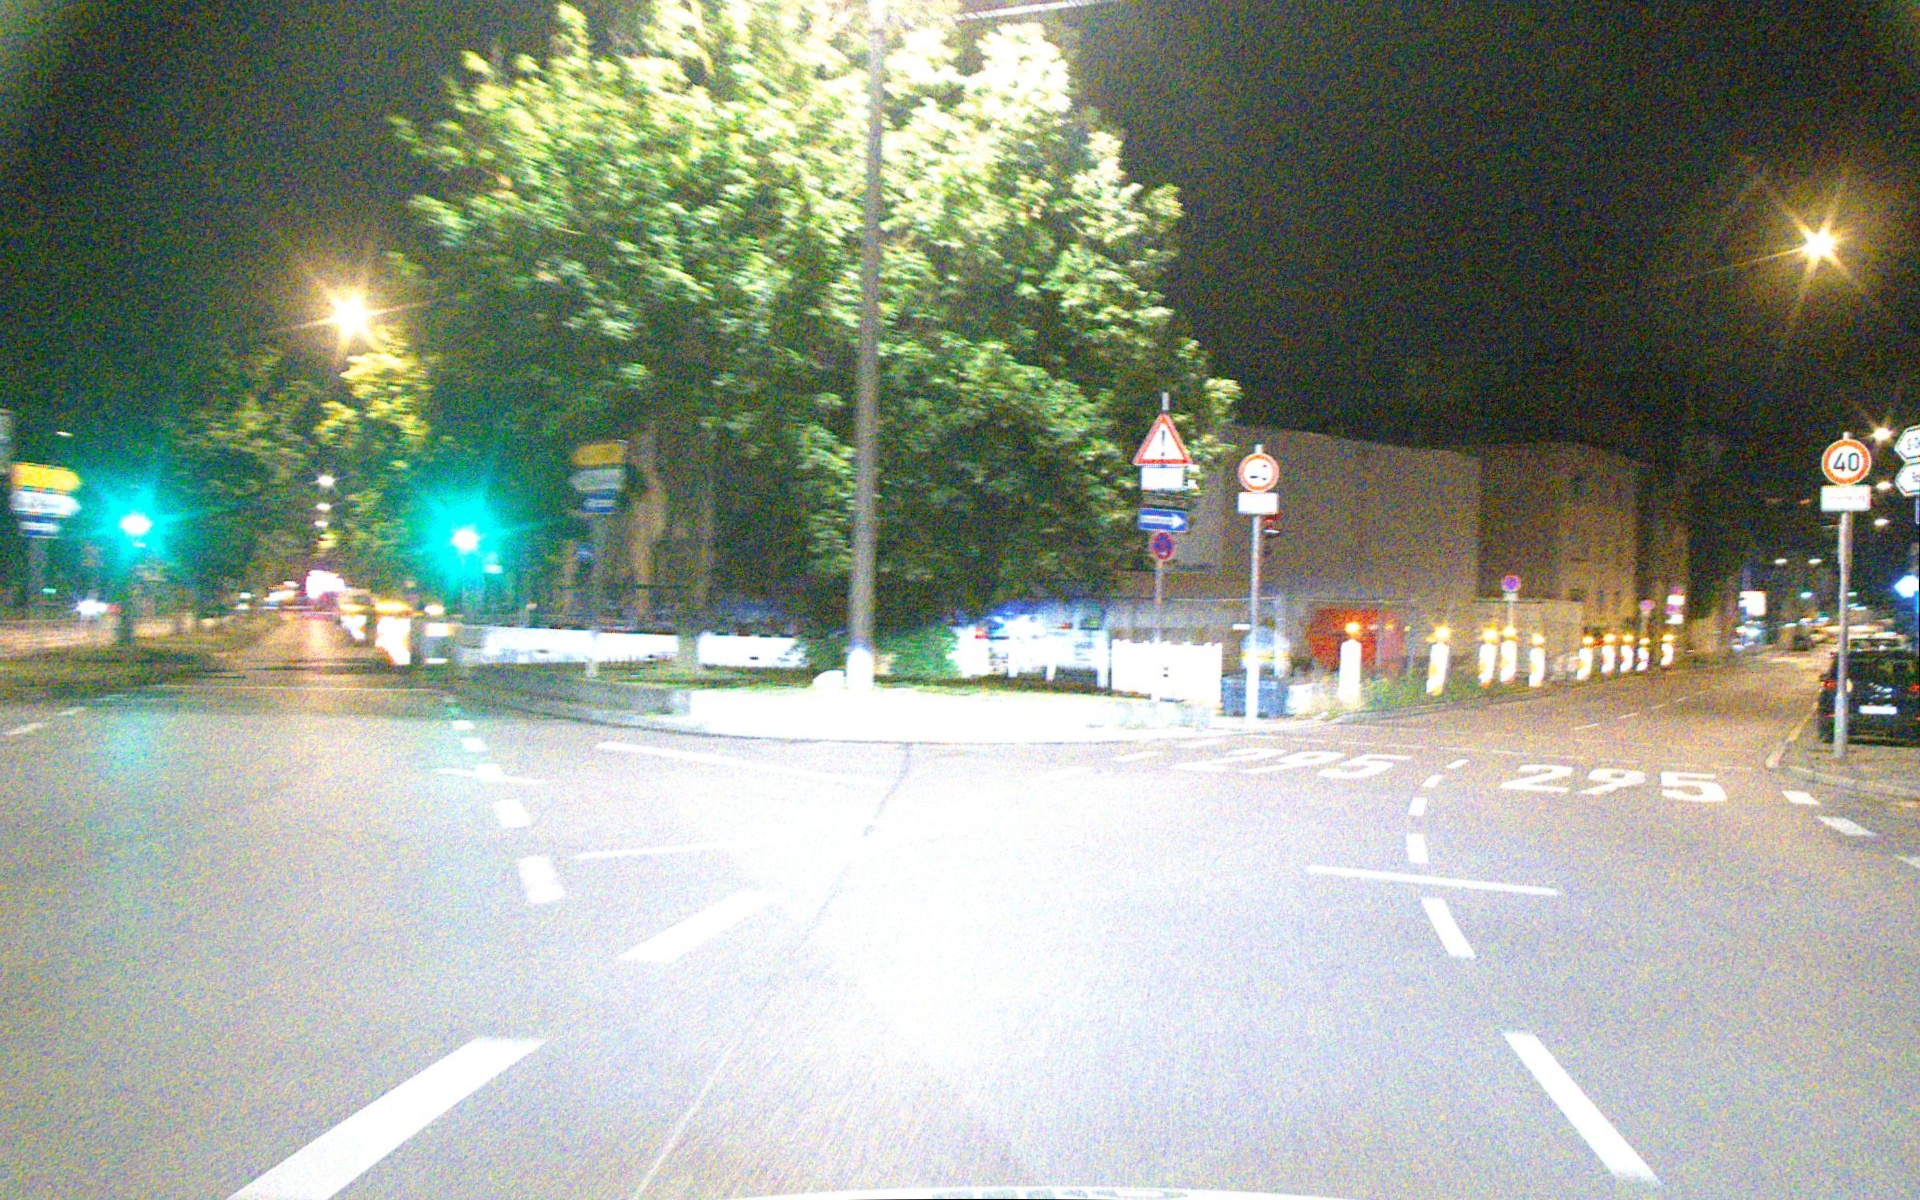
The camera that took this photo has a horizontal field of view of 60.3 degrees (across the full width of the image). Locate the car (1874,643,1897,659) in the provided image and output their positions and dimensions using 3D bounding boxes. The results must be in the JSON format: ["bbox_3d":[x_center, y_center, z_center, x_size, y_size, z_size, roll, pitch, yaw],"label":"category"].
[{"bbox_3d":[96.925,5.342,173.115,1.957,1.542,3.991,2,0,31],"label":"car"}]

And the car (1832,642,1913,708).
[{"bbox_3d":[23.205,1.873,42.132,1.710,1.593,4.204,0,-2,28],"label":"car"}]

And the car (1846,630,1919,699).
[{"bbox_3d":[27.867,1.913,49.801,2.033,1.962,5.361,0,-2,29],"label":"car"}]

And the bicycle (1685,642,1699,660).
[{"bbox_3d":[44.911,3.125,101.439,0.608,1.070,1.718,1,-1,30],"label":"bicycle"}]

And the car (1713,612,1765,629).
[{"bbox_3d":[74.347,1.980,157.904,4.356,1.475,1.996,2,-1,30],"label":"car"}]

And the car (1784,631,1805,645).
[{"bbox_3d":[97.734,4.510,193.726,1.956,1.528,3.993,2,-1,29],"label":"car"}]

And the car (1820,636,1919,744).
[{"bbox_3d":[15.760,1.495,28.393,1.710,1.712,4.251,0,-2,28],"label":"car"}]

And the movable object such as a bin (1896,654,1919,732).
[{"bbox_3d":[18.531,1.768,31.694,0.919,1.457,1.337,-1,-2,26],"label":"movable object such as a bin"}]
